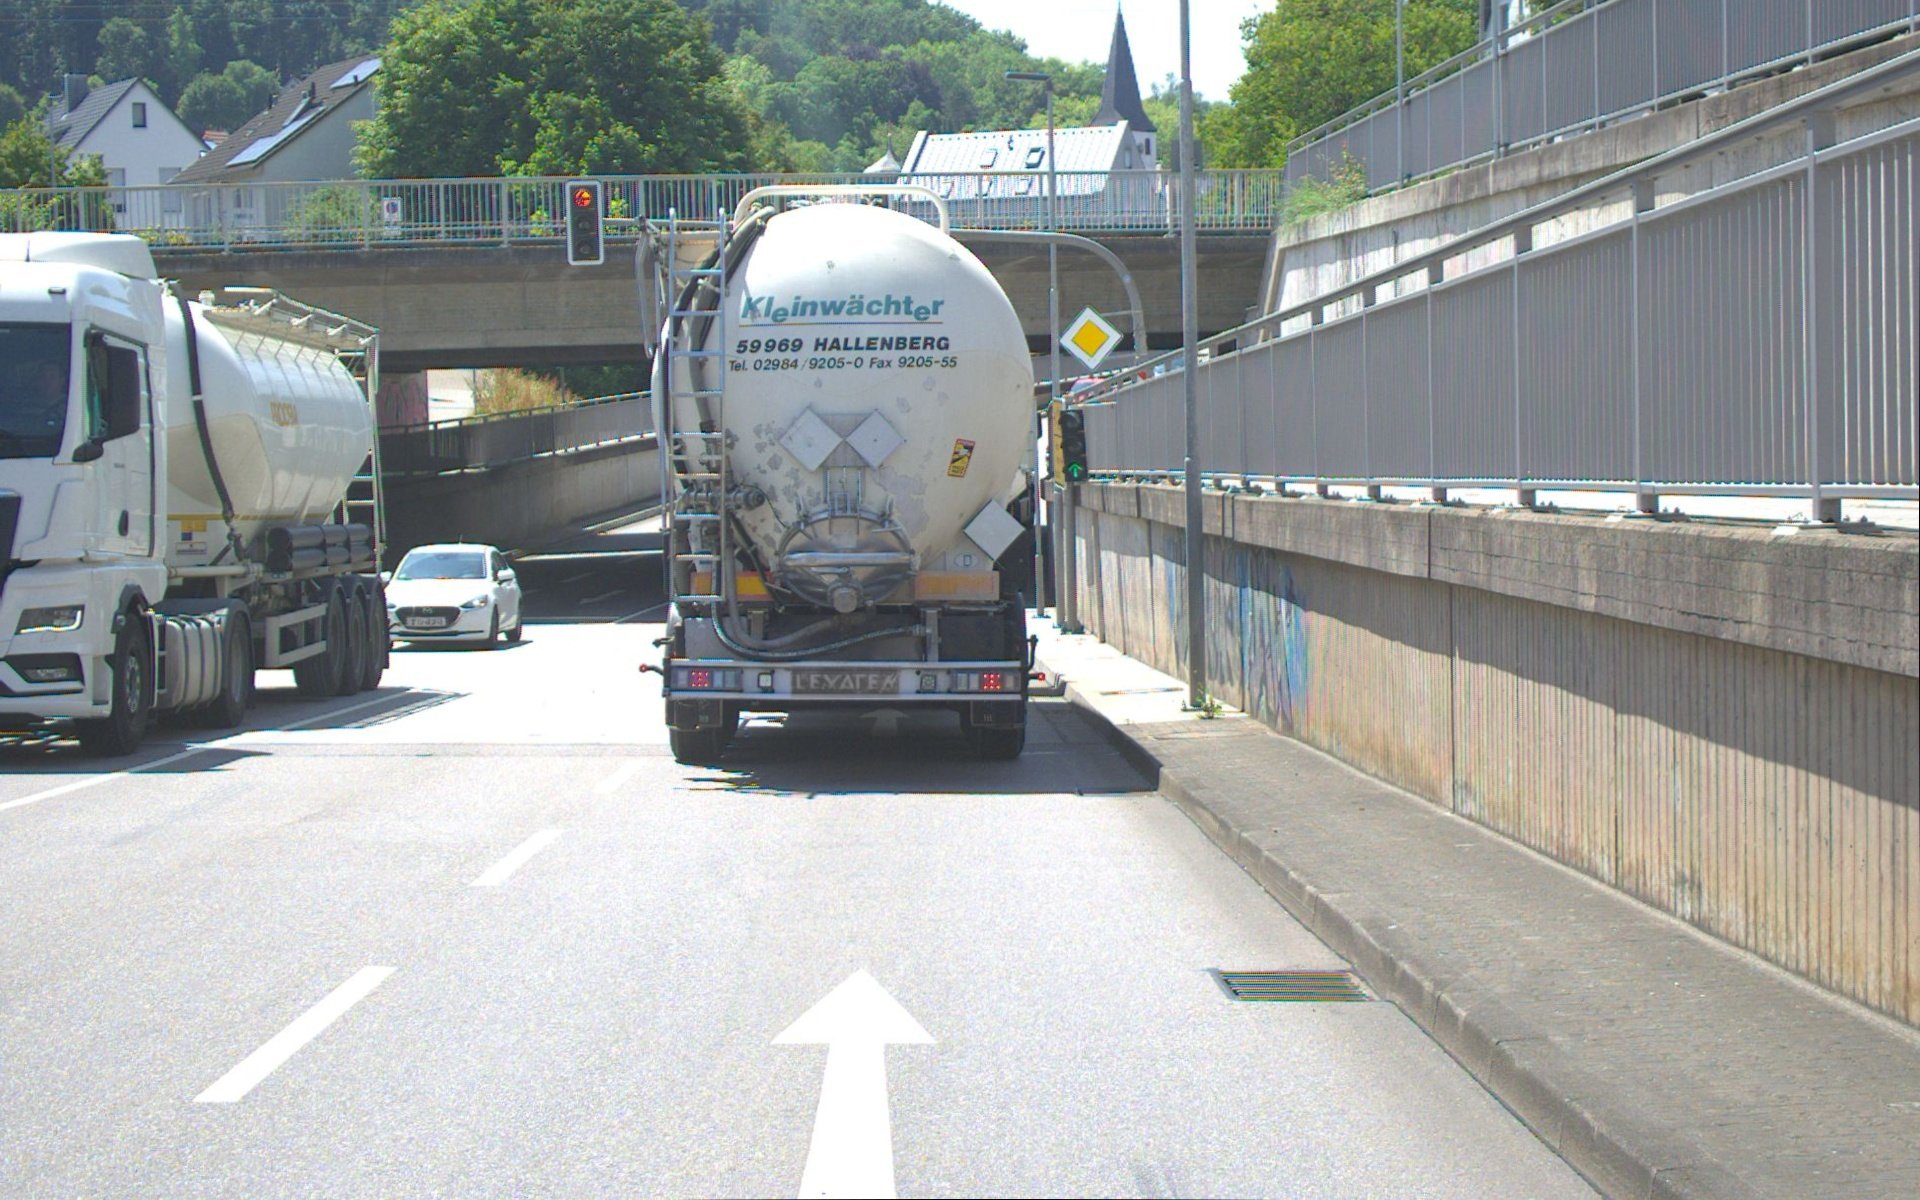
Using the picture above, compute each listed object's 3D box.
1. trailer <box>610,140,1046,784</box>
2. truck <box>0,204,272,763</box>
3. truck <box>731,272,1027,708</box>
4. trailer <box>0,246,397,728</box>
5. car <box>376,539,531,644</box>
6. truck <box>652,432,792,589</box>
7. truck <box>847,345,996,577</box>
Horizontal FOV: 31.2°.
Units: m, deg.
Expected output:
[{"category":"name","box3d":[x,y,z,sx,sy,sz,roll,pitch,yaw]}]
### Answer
[{"category":"trailer","box3d":[-0.783,-0.958,28.320,2.735,4.050,13.313,0,1,0]},{"category":"truck","box3d":[-7.371,-0.843,26.962,2.662,3.847,6.580,0,1,0]},{"category":"truck","box3d":[-0.726,-1.067,35.230,2.735,4.050,6.529,0,1,0]},{"category":"trailer","box3d":[-7.427,-0.991,32.894,2.610,3.950,9.347,0,1,0]},{"category":"car","box3d":[-7.352,-0.157,50.243,1.682,1.435,4.094,0,1,0]},{"category":"truck","box3d":[-5.749,-2.179,84.163,2.689,3.651,7.369,1,1,2]},{"category":"truck","box3d":[-0.773,-3.163,79.089,3.081,4.982,10.083,0,2,1]}]
